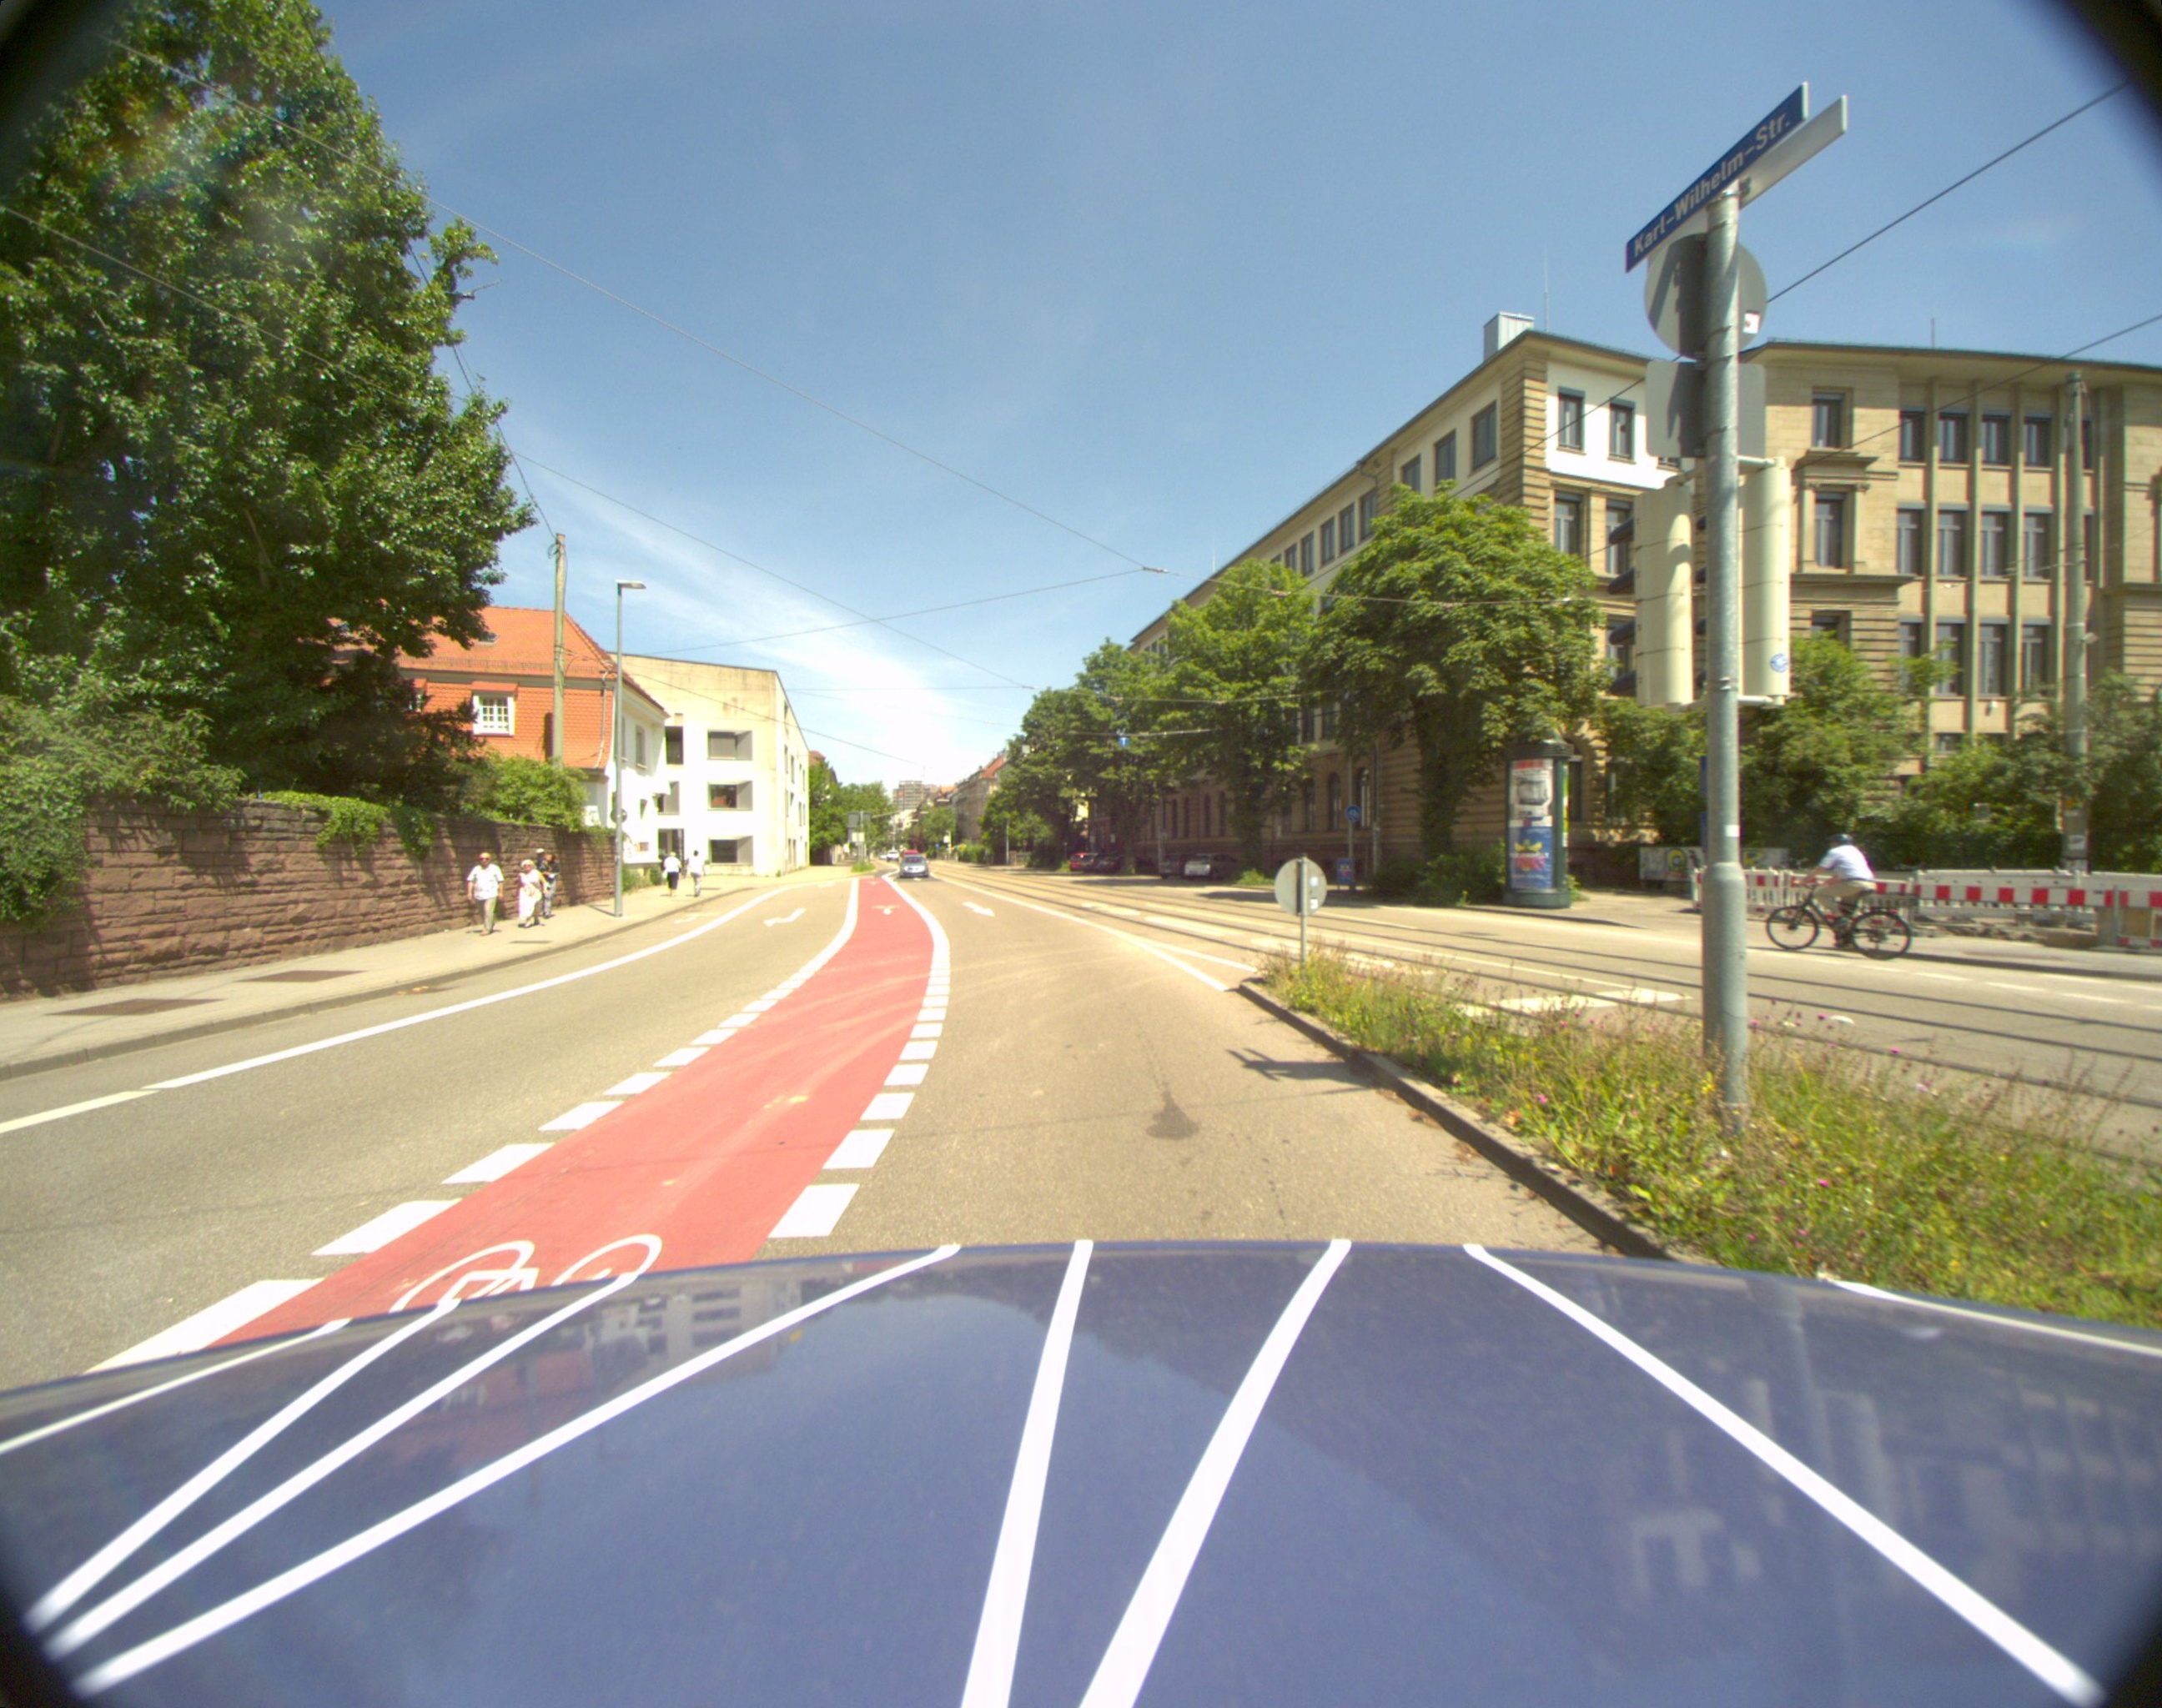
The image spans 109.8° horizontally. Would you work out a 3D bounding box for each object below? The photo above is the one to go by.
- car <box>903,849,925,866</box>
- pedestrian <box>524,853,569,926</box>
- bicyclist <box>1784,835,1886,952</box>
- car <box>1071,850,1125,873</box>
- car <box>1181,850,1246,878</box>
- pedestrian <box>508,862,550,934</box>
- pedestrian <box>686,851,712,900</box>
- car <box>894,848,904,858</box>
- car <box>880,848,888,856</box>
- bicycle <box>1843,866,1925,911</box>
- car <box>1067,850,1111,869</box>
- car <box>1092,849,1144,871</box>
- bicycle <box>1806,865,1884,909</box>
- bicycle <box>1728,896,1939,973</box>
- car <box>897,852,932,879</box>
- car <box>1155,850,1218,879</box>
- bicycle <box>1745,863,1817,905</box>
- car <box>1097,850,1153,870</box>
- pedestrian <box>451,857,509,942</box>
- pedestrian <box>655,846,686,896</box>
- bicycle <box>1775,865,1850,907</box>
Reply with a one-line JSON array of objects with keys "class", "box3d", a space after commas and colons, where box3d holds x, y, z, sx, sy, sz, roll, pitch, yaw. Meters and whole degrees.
[{"class": "car", "box3d": [-17.151, 0.359, 77.846, 1.877, 1.638, 3.772, -1, 2, -16]}, {"class": "pedestrian", "box3d": [-13.153, 0.861, 18.721, 0.719, 1.763, 0.628, -1, 1, -19]}, {"class": "bicyclist", "box3d": [11.430, 0.575, 11.537, 0.824, 1.700, 0.769, -1, 1, -15]}, {"class": "car", "box3d": [1.350, 0.572, 59.345, 1.664, 1.575, 4.330, 0, 2, 45]}, {"class": "car", "box3d": [7.168, 0.510, 40.991, 3.556, 1.398, 1.697, -2, 1, -44]}, {"class": "pedestrian", "box3d": [-12.103, 0.952, 16.668, 0.517, 1.524, 0.597, 0, 1, -11]}, {"class": "pedestrian", "box3d": [-14.141, 0.771, 28.120, 0.679, 1.797, 0.747, 0, 1, -12]}, {"class": "car", "box3d": [-31.315, -0.173, 130.512, 1.622, 1.700, 3.424, -1, 2, -15]}, {"class": "car", "box3d": [-46.146, -0.486, 177.833, 1.885, 1.675, 3.363, -1, 2, -14]}, {"class": "bicycle", "box3d": [20.156, 0.850, 19.085, 1.738, 1.096, 0.504, 0, 1, -9]}, {"class": "car", "box3d": [0.678, 0.429, 62.917, 3.359, 1.507, 1.664, -2, 2, -42]}, {"class": "car", "box3d": [2.805, 0.442, 56.615, 1.788, 1.568, 3.826, 0, 1, 45]}, {"class": "bicycle", "box3d": [20.005, 0.860, 19.906, 1.738, 1.096, 0.504, 0, 1, -9]}, {"class": "bicycle", "box3d": [11.410, 1.181, 11.675, 0.505, 0.909, 2.367, 0, 0, -14]}, {"class": "car", "box3d": [-10.634, 0.691, 48.345, 1.896, 1.561, 4.030, -1, 2, -16]}, {"class": "car", "box3d": [6.100, 0.586, 43.724, 3.684, 1.511, 1.664, -3, 2, -44]}, {"class": "bicycle", "box3d": [19.709, 0.840, 21.407, 1.688, 1.141, 0.463, -1, 2, -6]}, {"class": "car", "box3d": [3.160, 0.433, 53.699, 3.942, 1.366, 1.664, 0, 0, -41]}, {"class": "pedestrian", "box3d": [-11.917, 0.886, 15.084, 0.663, 1.638, 0.624, 0, 1, -11]}, {"class": "pedestrian", "box3d": [-15.058, 0.610, 27.906, 0.817, 1.797, 0.699, 0, 1, -12]}, {"class": "bicycle", "box3d": [19.883, 0.870, 20.650, 1.738, 1.096, 0.504, 0, 1, -9]}]
